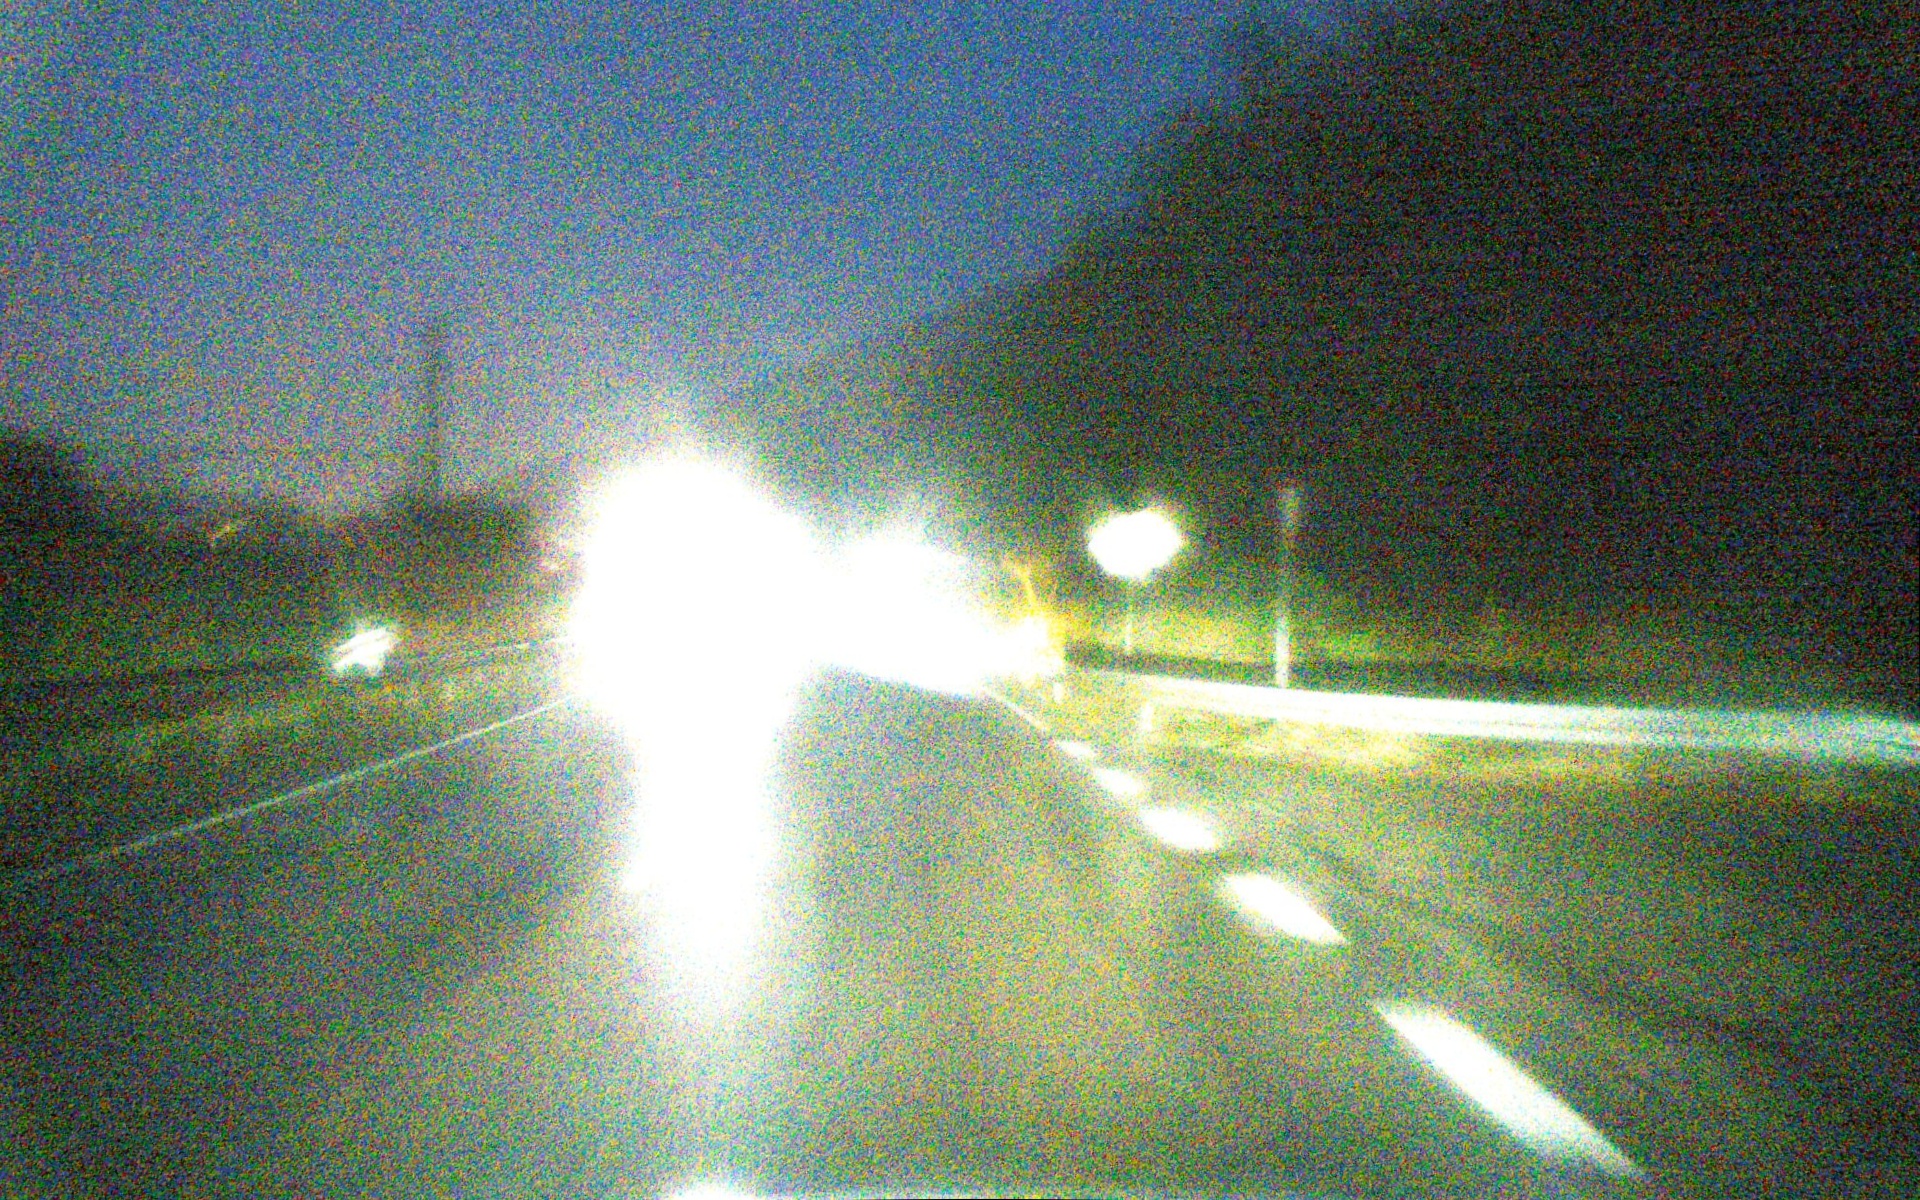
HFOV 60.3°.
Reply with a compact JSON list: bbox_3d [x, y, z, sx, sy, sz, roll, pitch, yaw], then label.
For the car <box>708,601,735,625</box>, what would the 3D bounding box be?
[{"bbox_3d":[-15.528,0.836,107.772,1.670,1.532,3.675,0,0,-9],"label":"car"}]
